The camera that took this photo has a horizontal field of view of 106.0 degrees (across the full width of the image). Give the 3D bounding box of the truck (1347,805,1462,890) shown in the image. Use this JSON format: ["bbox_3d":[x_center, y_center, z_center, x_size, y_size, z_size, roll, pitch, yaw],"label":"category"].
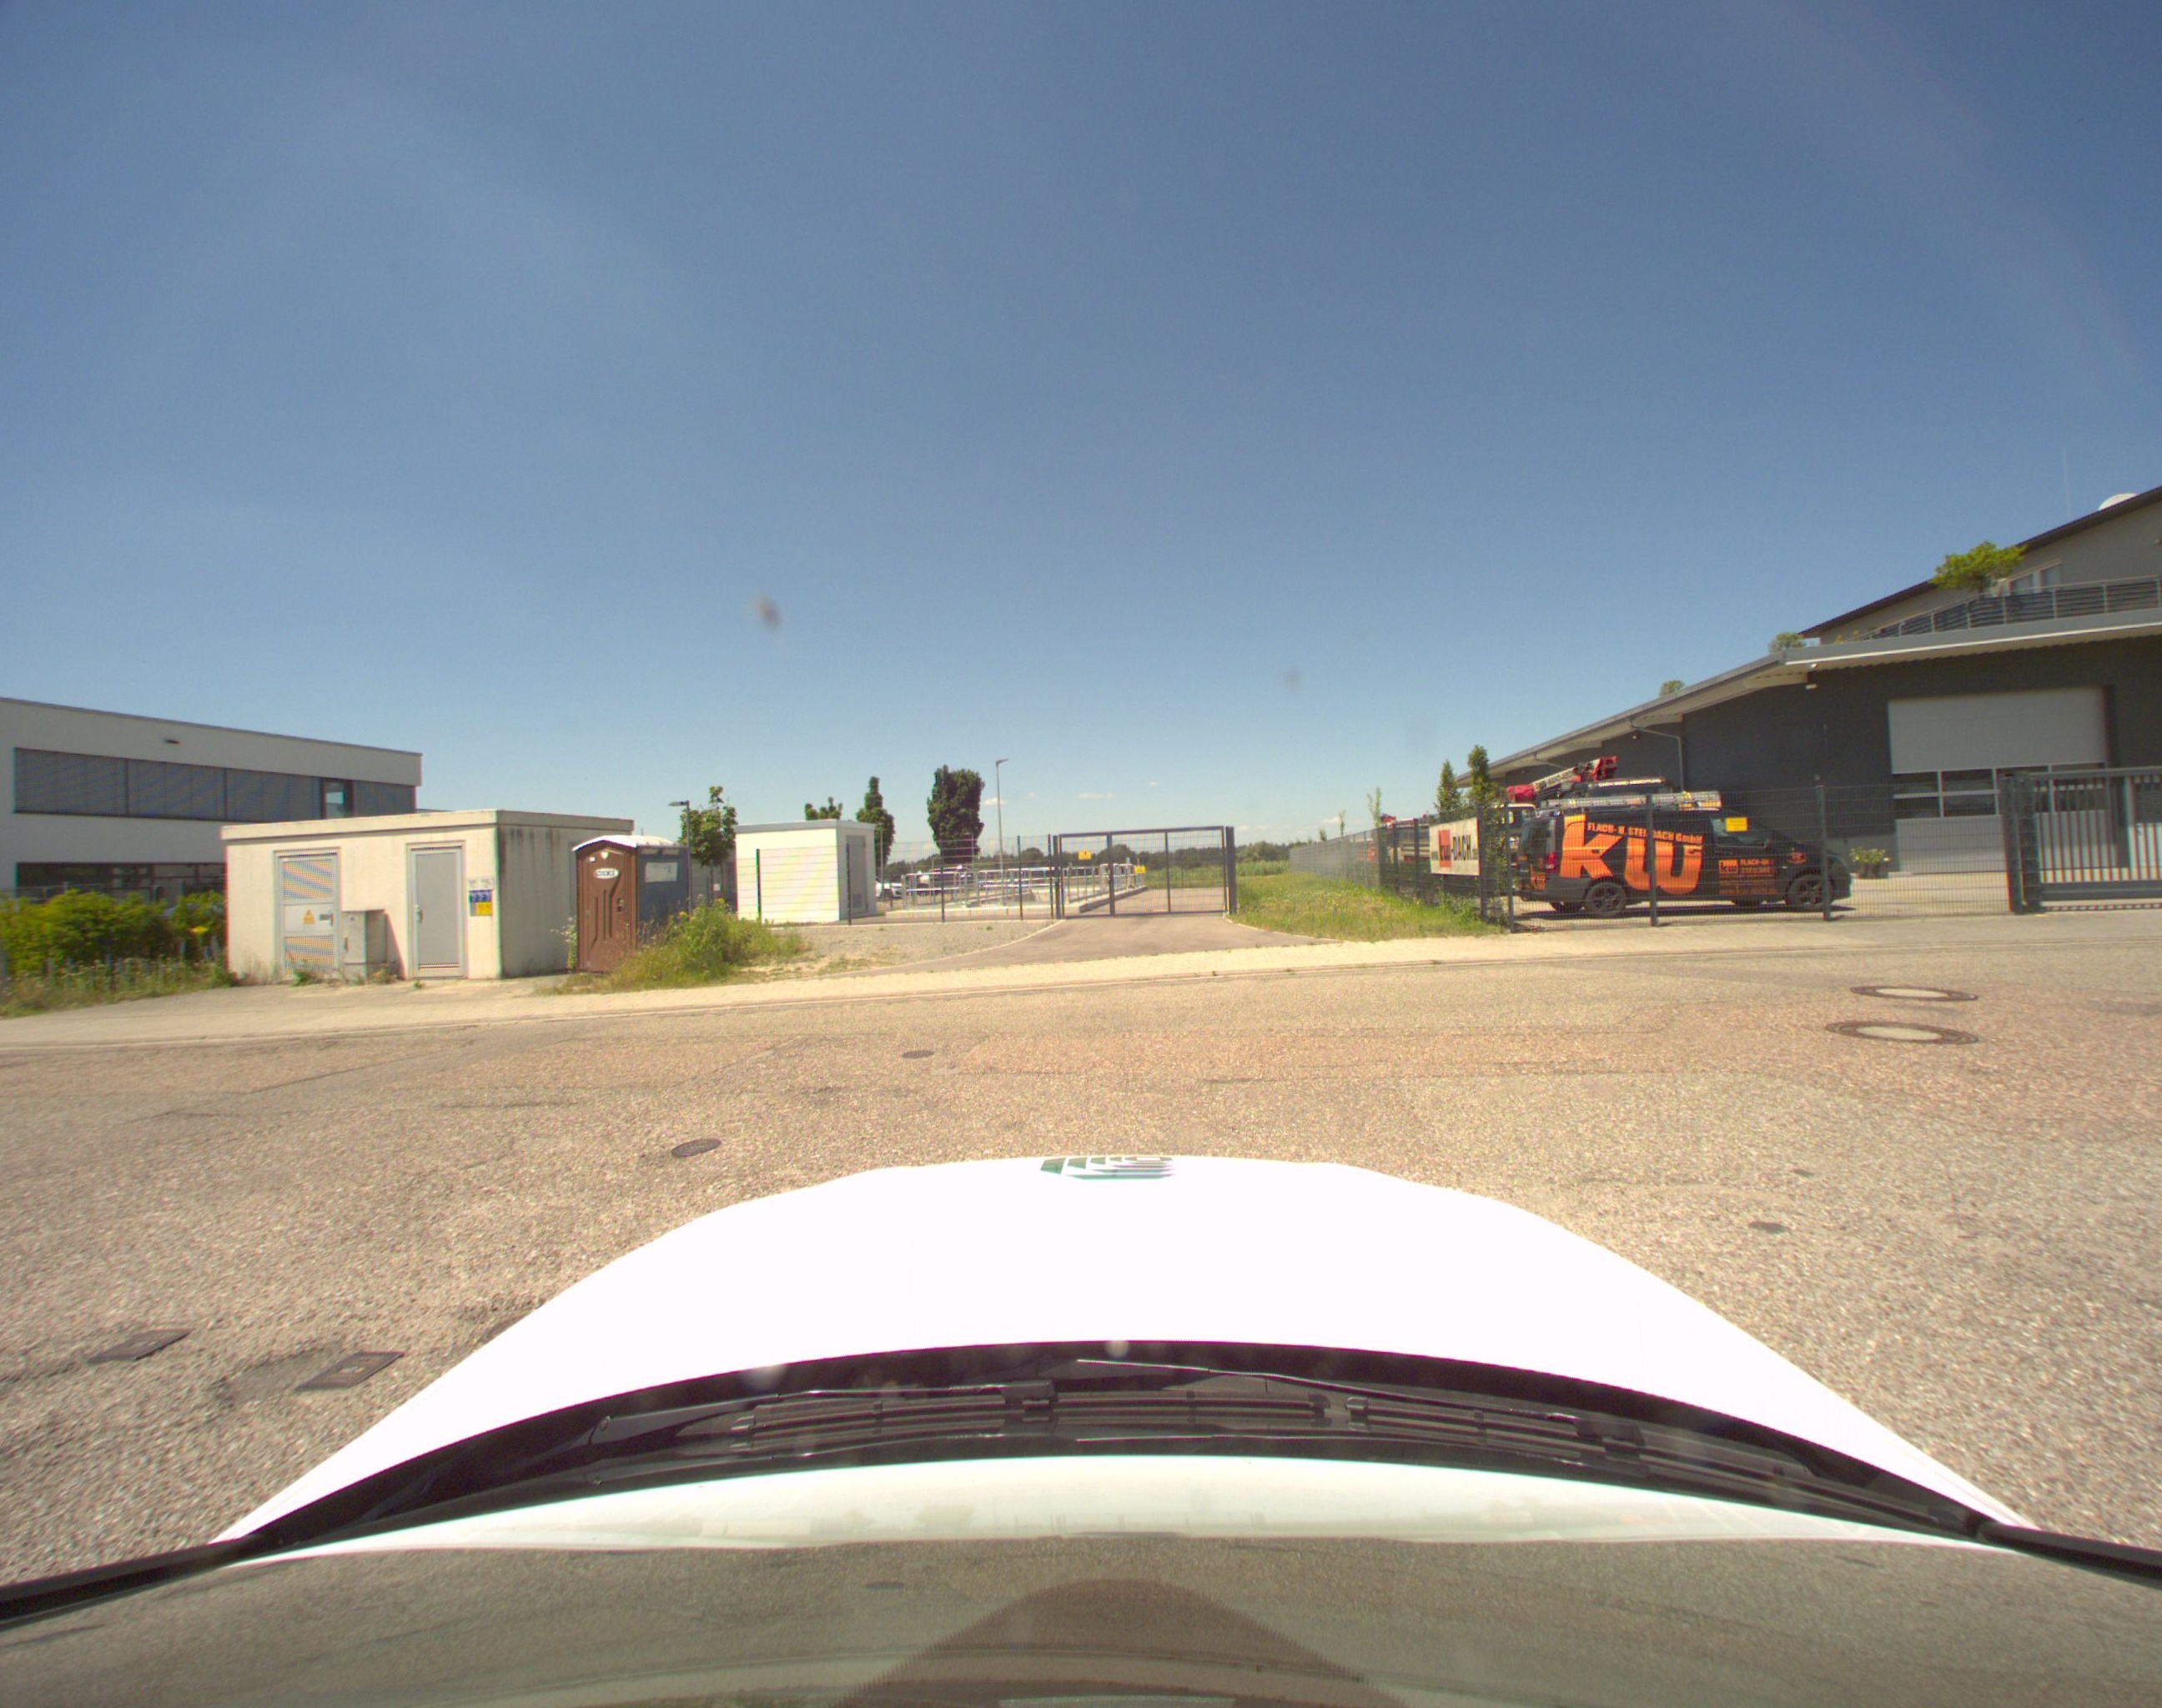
[{"bbox_3d":[12.833,-0.176,32.972,2.903,2.938,6.956,-3,-1,11],"label":"truck"}]

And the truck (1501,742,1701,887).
[{"bbox_3d":[16.357,-1.059,26.334,2.903,3.929,6.956,-3,-1,11],"label":"truck"}]

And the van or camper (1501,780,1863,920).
[{"bbox_3d":[10.743,-0.040,14.988,4.905,2.163,2.006,-3,0,10],"label":"van or camper"}]

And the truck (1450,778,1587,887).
[{"bbox_3d":[17.944,-0.769,34.016,2.903,3.929,6.956,-3,-1,11],"label":"truck"}]

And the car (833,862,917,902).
[{"bbox_3d":[-11.446,1.541,45.419,3.961,2.014,2.006,-3,-1,11],"label":"car"}]

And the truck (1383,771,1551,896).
[{"bbox_3d":[11.123,-0.480,24.264,2.709,3.062,6.956,-3,-1,11],"label":"truck"}]

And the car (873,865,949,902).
[{"bbox_3d":[-10.273,1.751,49.329,3.961,2.014,2.006,-3,-1,11],"label":"car"}]
